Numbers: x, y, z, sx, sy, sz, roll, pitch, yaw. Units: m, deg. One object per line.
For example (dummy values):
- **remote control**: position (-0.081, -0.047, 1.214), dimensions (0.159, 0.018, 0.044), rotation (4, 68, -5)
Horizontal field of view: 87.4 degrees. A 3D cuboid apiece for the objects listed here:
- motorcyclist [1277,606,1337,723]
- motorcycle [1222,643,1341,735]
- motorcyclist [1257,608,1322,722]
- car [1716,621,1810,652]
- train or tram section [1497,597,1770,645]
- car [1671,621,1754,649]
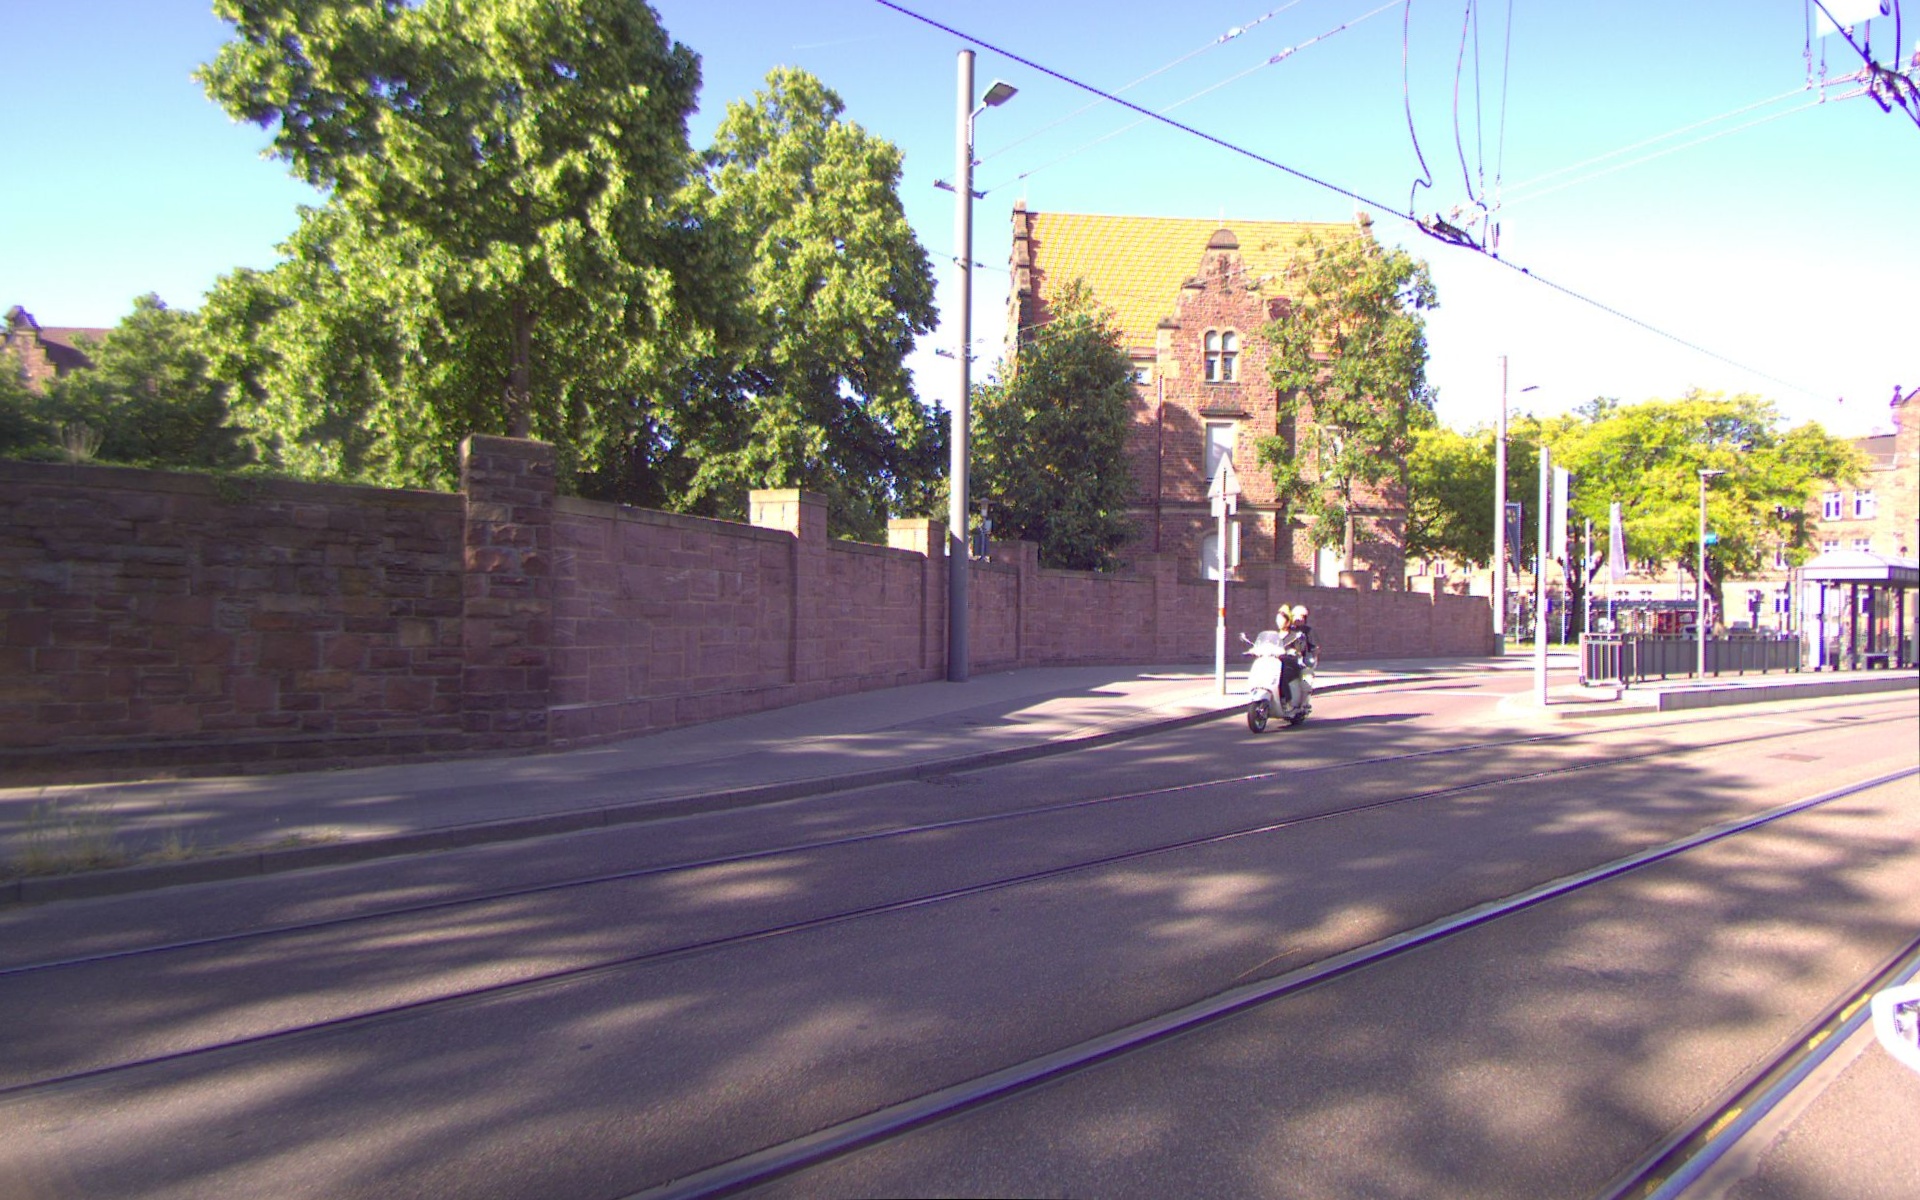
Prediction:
- **motorcyclist**: position (4.723, 0.859, 13.672), dimensions (0.462, 1.536, 0.601), rotation (1, 0, -39)
- **motorcycle**: position (4.282, 1.144, 13.313), dimensions (1.841, 1.108, 0.604), rotation (1, 0, -39)
- **motorcyclist**: position (4.385, 0.845, 13.391), dimensions (0.442, 1.460, 0.678), rotation (1, 0, -39)
- **car**: position (47.757, 2.171, 59.799), dimensions (1.798, 1.651, 3.964), rotation (2, 0, -32)
- **train or tram section**: position (50.031, 1.472, 75.887), dimensions (3.312, 3.196, 17.280), rotation (2, -1, -33)
- **car**: position (49.181, 2.254, 65.683), dimensions (1.798, 1.651, 3.964), rotation (2, 0, -32)
